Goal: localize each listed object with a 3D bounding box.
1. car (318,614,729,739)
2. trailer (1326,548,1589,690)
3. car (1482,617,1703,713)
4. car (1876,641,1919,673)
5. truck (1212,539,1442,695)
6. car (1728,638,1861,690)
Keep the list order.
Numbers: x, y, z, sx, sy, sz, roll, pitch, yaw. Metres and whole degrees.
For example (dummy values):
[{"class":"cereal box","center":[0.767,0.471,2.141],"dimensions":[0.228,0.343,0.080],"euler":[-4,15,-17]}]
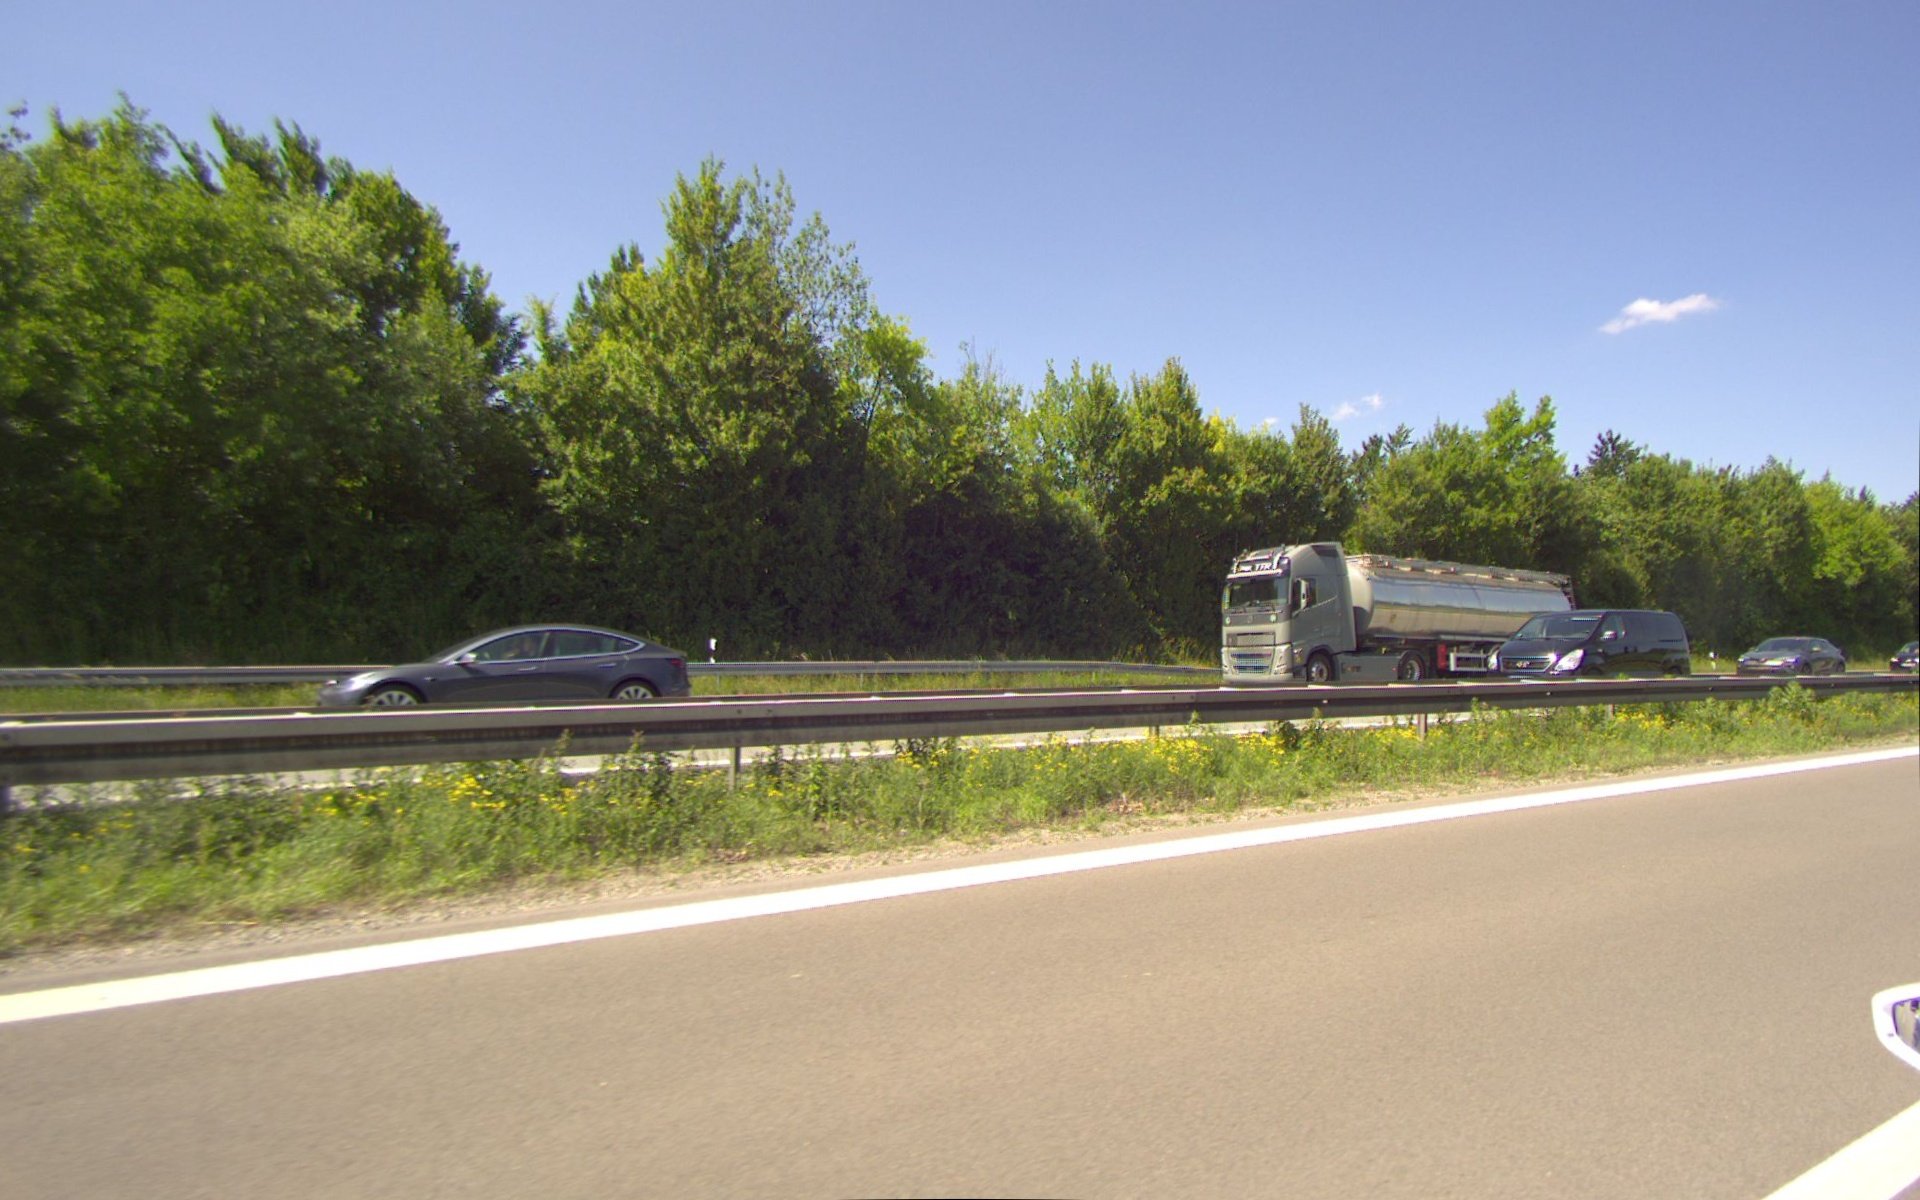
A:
[{"class":"car","center":[-5.798,0.967,13.669],"dimensions":[4.834,1.434,1.897],"euler":[2,-2,-31]},{"class":"trailer","center":[15.680,0.711,31.370],"dimensions":[9.350,3.932,2.752],"euler":[2,-4,-32]},{"class":"car","center":[13.399,1.316,21.198],"dimensions":[5.001,1.812,1.897],"euler":[2,-2,-31]},{"class":"car","center":[47.113,2.768,49.142],"dimensions":[4.871,1.500,1.985],"euler":[2,-2,-29]},{"class":"truck","center":[10.295,0.579,28.023],"dimensions":[6.252,3.932,2.717],"euler":[2,-4,-32]},{"class":"car","center":[27.789,2.100,33.437],"dimensions":[4.574,1.610,1.880],"euler":[2,-2,-29]}]
